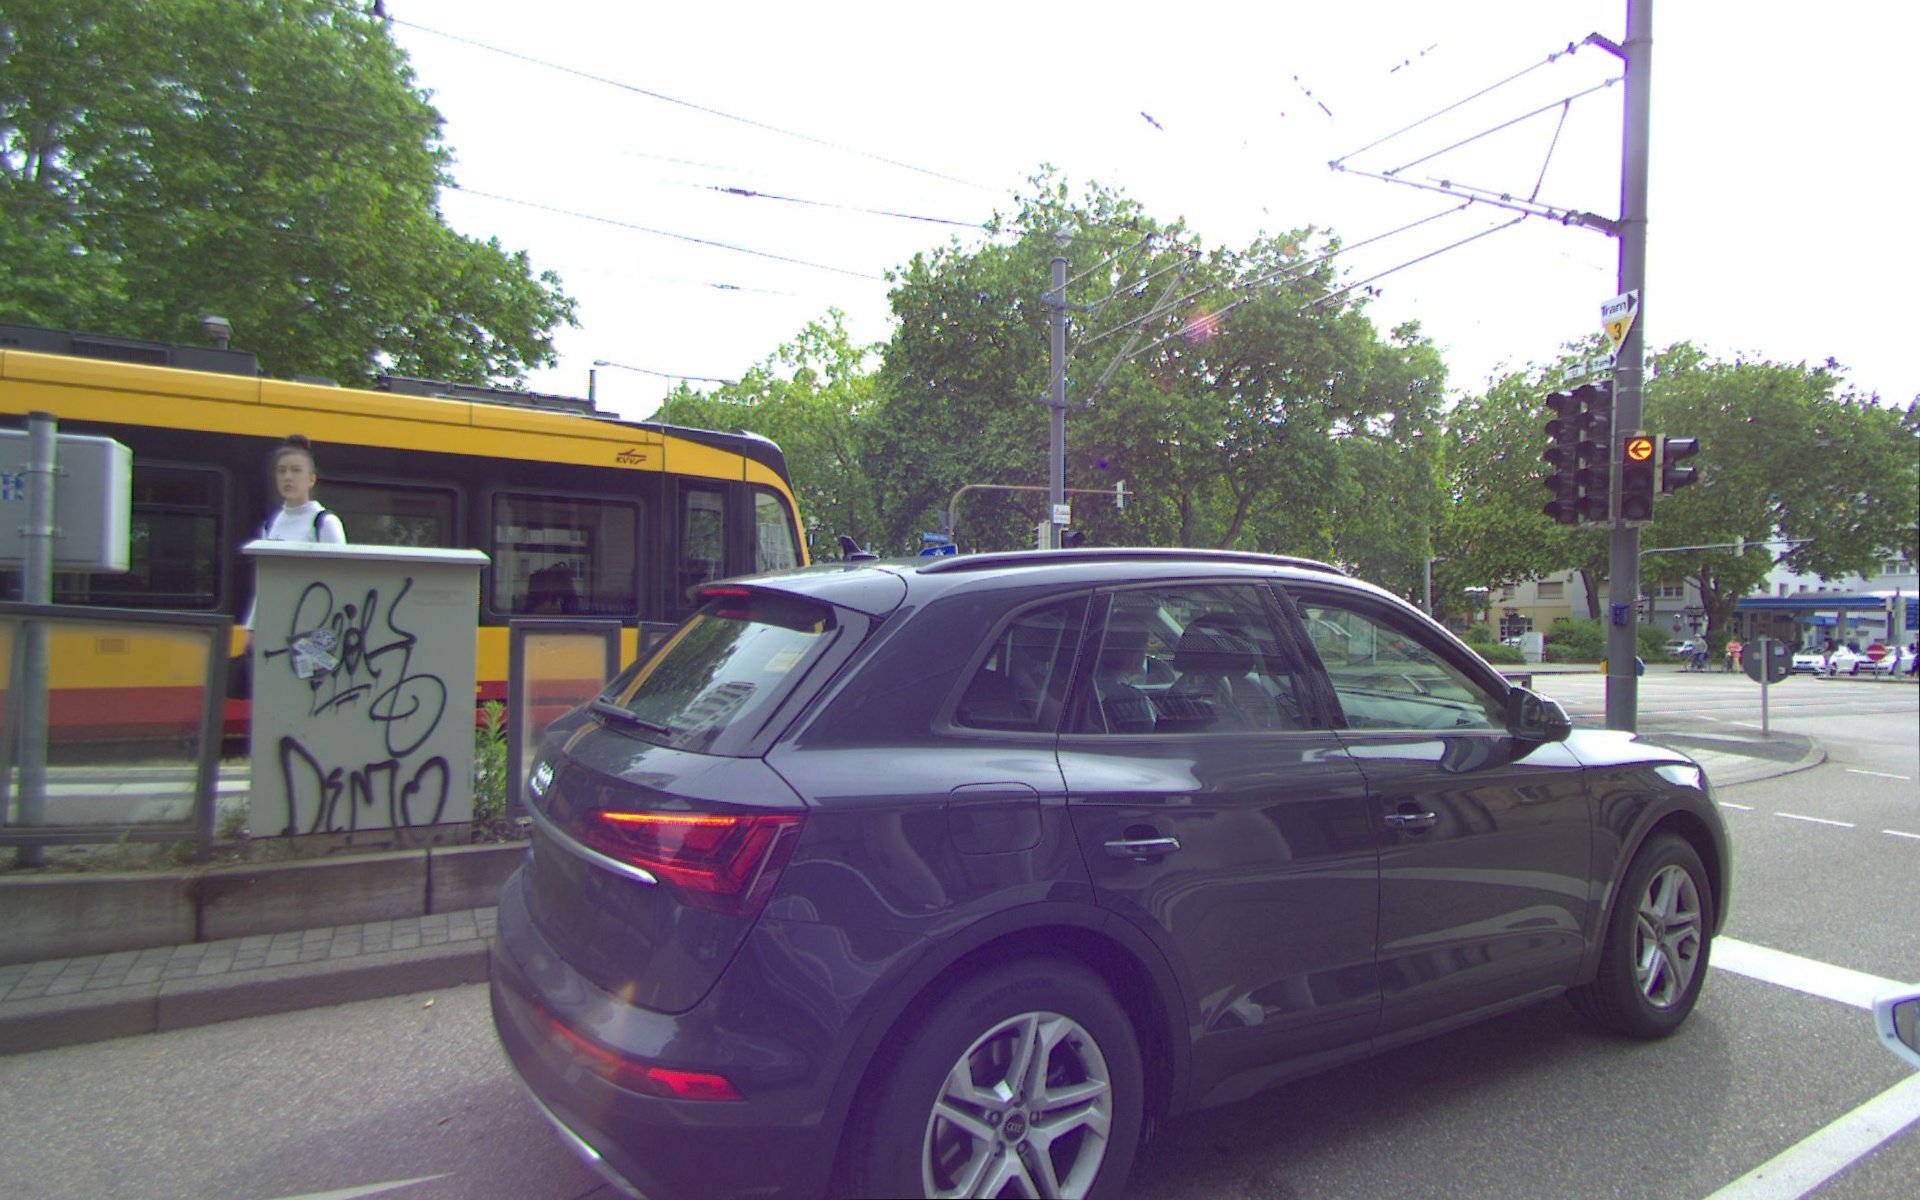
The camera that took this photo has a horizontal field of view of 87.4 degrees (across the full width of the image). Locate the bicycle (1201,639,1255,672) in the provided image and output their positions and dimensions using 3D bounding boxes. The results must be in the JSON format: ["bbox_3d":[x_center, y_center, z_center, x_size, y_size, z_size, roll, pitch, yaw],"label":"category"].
[{"bbox_3d":[10.477,2.154,39.305,1.914,1.151,0.732,2,0,40],"label":"bicycle"}]

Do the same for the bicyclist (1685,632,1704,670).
[{"bbox_3d":[35.872,2.477,49.055,0.461,1.808,0.534,2,0,-10],"label":"bicyclist"}]

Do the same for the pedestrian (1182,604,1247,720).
[{"bbox_3d":[3.861,0.925,15.309,0.851,1.702,0.673,2,0,9],"label":"pedestrian"}]

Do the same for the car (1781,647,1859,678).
[{"bbox_3d":[41.360,2.984,48.302,3.954,1.343,1.626,2,0,-31],"label":"car"}]

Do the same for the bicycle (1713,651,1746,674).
[{"bbox_3d":[36.986,3.005,48.272,1.914,1.031,0.519,2,0,-30],"label":"bicycle"}]

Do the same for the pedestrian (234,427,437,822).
[{"bbox_3d":[-2.942,0.112,4.789,0.722,1.683,0.750,2,0,-30],"label":"pedestrian"}]

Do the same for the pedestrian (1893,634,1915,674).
[{"bbox_3d":[37.644,2.168,40.056,0.461,1.557,0.542,2,0,-34],"label":"pedestrian"}]

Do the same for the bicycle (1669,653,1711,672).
[{"bbox_3d":[35.757,3.057,49.209,0.644,0.783,1.682,2,0,-9],"label":"bicycle"}]

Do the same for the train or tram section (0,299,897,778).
[{"bbox_3d":[-8.262,-0.490,8.834,15.665,3.636,3.045,2,0,-31],"label":"train or tram section"}]

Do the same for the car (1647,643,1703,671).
[{"bbox_3d":[45.208,3.592,63.519,3.802,1.578,1.879,2,0,-38],"label":"car"}]

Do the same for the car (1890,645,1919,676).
[{"bbox_3d":[52.821,3.323,54.937,3.792,1.578,1.885,2,0,-30],"label":"car"}]

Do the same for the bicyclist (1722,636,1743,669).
[{"bbox_3d":[37.254,2.527,48.421,0.611,1.588,0.585,2,0,-30],"label":"bicyclist"}]

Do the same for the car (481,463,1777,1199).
[{"bbox_3d":[0.799,0.660,3.527,4.308,1.622,1.870,2,-1,-31],"label":"car"}]

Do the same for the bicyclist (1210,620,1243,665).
[{"bbox_3d":[10.426,1.655,39.322,1.026,1.706,0.641,2,0,41],"label":"bicyclist"}]

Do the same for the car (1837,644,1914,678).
[{"bbox_3d":[46.886,3.097,51.428,3.792,1.578,1.885,2,0,-30],"label":"car"}]

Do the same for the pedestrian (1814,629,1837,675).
[{"bbox_3d":[34.952,2.114,40.568,0.513,1.818,0.569,2,0,-34],"label":"pedestrian"}]

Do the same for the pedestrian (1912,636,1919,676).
[{"bbox_3d":[37.699,2.193,39.221,0.461,1.557,0.649,2,0,-34],"label":"pedestrian"}]

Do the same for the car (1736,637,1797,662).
[{"bbox_3d":[54.734,3.373,68.167,3.954,1.550,1.984,2,0,-30],"label":"car"}]
